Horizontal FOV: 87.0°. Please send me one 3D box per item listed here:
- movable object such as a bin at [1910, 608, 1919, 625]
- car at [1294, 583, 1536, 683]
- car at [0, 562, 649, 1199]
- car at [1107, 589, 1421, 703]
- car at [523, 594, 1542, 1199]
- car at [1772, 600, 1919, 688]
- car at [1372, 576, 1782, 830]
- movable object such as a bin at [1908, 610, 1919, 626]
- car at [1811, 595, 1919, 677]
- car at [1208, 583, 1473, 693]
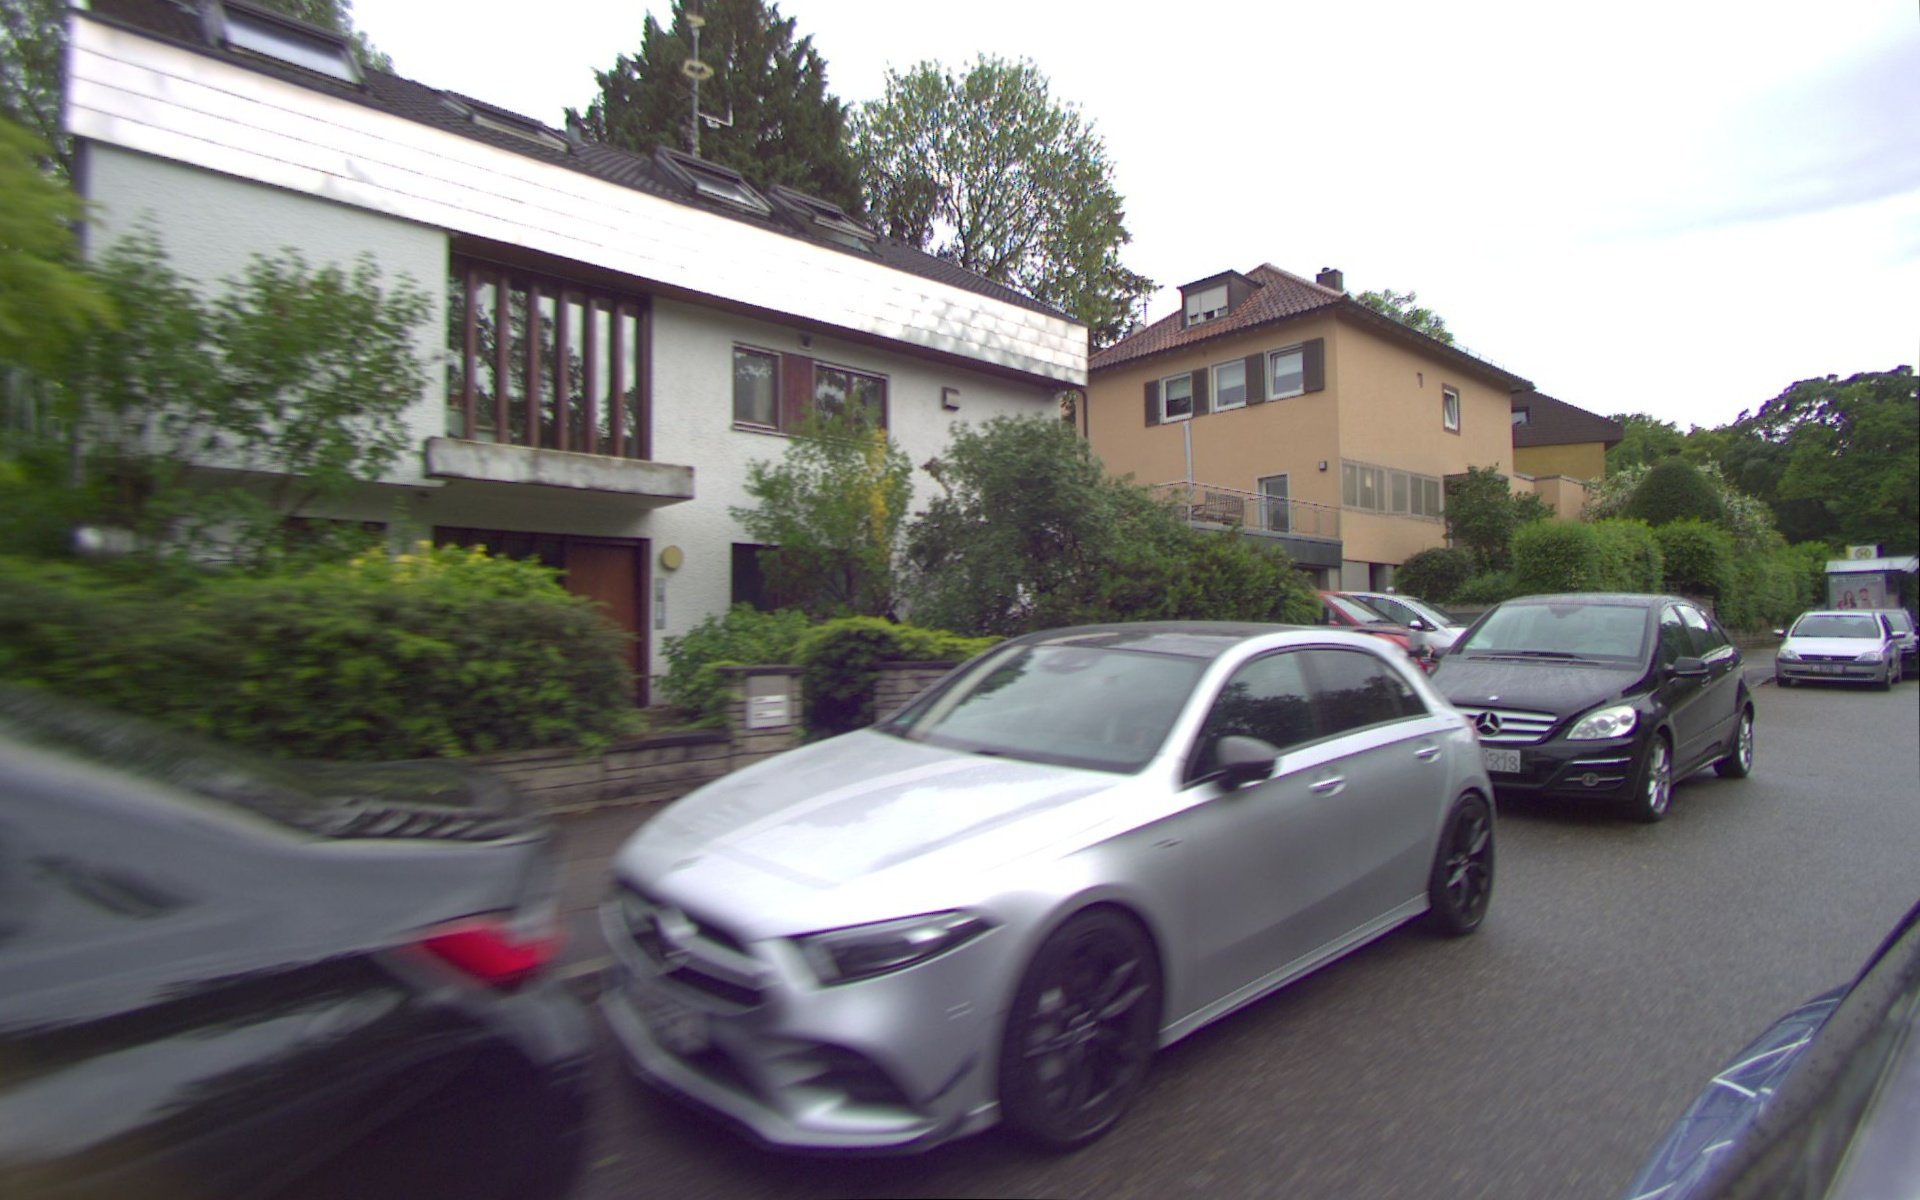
[{"bbox_3d":[58.864,1.020,62.140,0.648,1.018,0.666,0,-4,-41],"label":"movable object such as a bin"},{"bbox_3d":[8.313,0.519,18.673,1.798,1.555,3.661,0,2,-44],"label":"car"},{"bbox_3d":[-2.814,0.717,0.949,4.522,1.461,1.754,-1,0,-42],"label":"car"},{"bbox_3d":[4.498,0.624,15.472,1.850,1.479,4.251,-1,0,-41],"label":"car"},{"bbox_3d":[0.722,0.776,4.326,4.419,1.505,1.795,-1,0,-43],"label":"car"},{"bbox_3d":[17.036,0.764,19.201,4.031,1.416,1.816,-1,0,-41],"label":"car"},{"bbox_3d":[5.340,0.657,8.485,4.443,1.588,1.732,0,-1,-42],"label":"car"},{"bbox_3d":[58.280,1.072,61.701,0.540,0.949,0.569,0,-4,-41],"label":"movable object such as a bin"},{"bbox_3d":[20.334,0.713,22.165,4.548,1.567,1.833,-1,0,-40],"label":"car"},{"bbox_3d":[6.160,0.518,16.659,1.850,1.586,3.663,0,1,-42],"label":"car"}]
